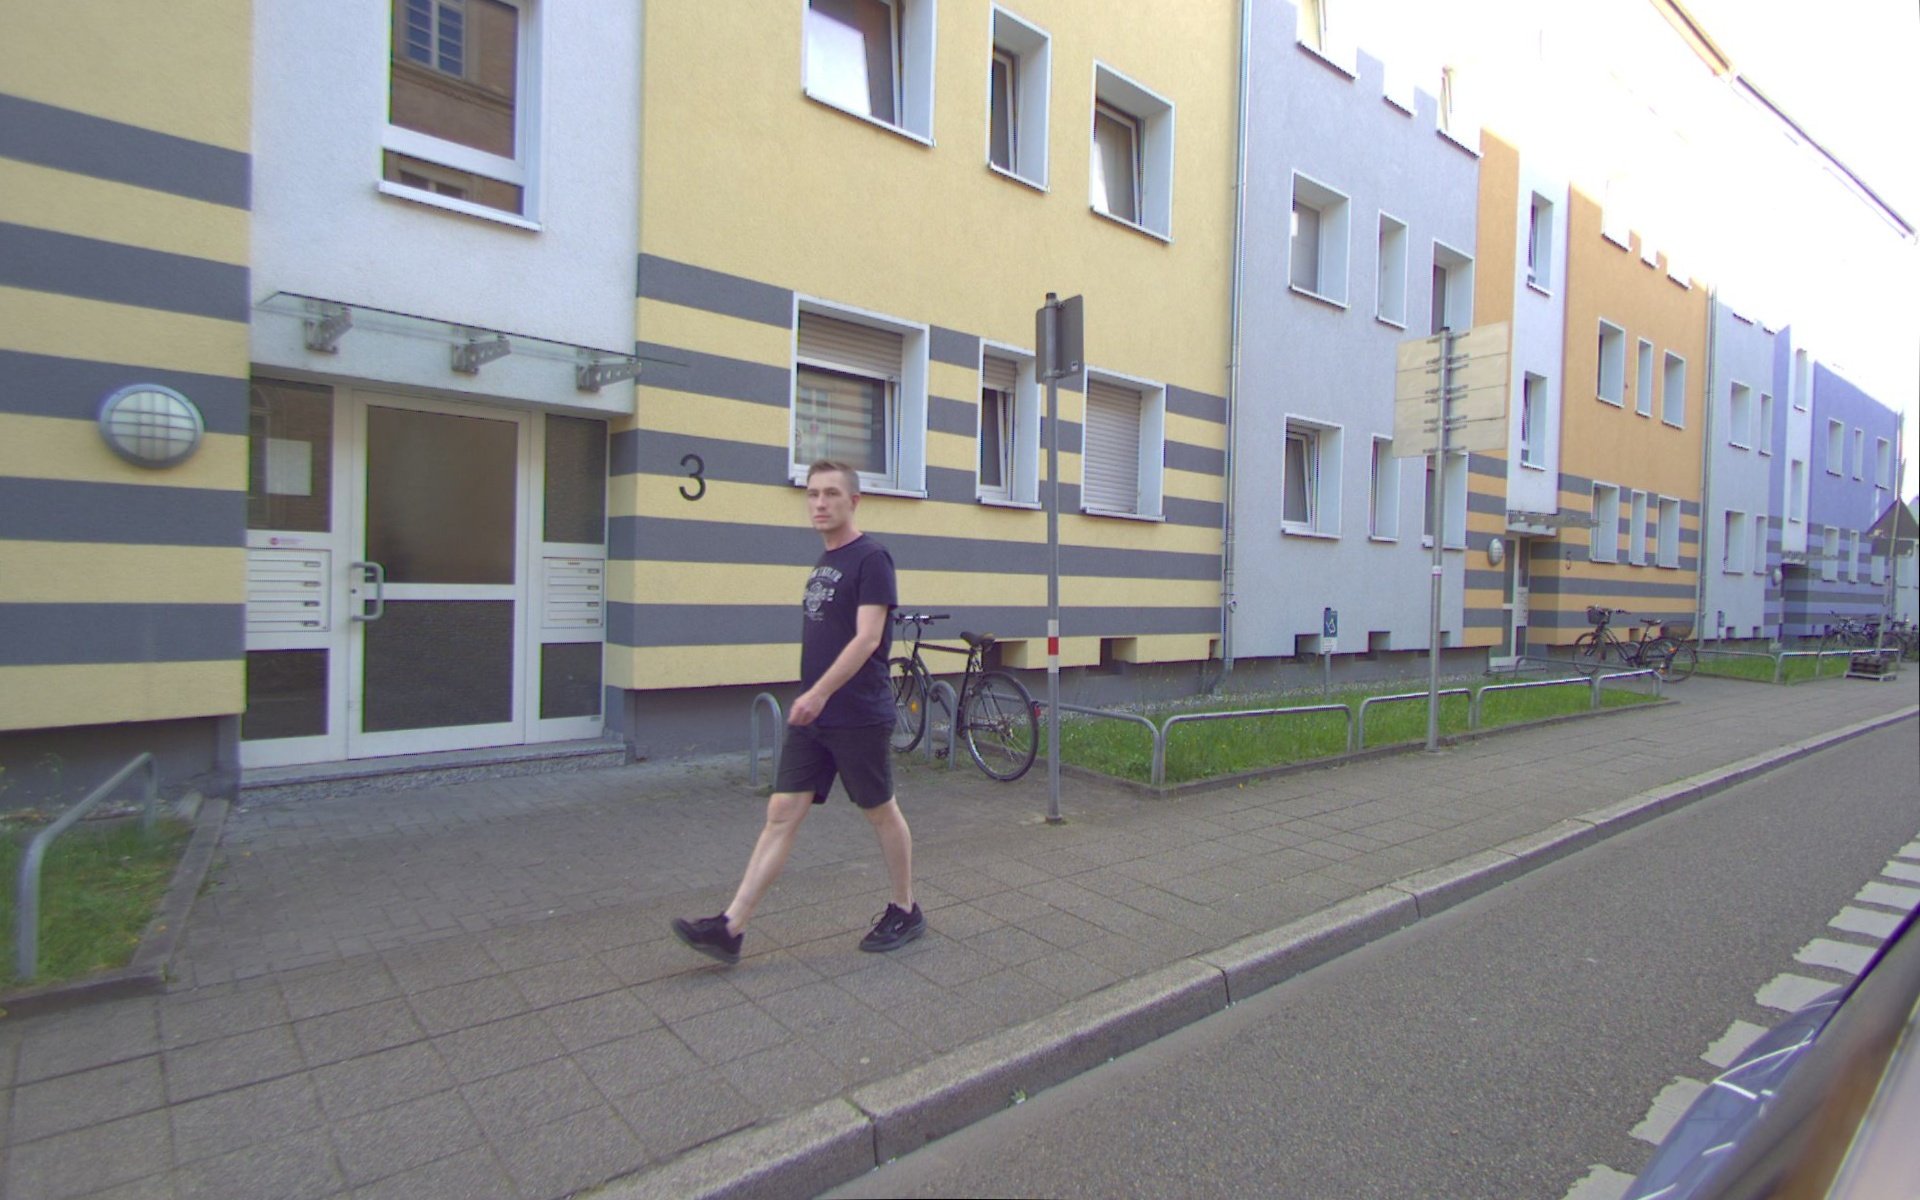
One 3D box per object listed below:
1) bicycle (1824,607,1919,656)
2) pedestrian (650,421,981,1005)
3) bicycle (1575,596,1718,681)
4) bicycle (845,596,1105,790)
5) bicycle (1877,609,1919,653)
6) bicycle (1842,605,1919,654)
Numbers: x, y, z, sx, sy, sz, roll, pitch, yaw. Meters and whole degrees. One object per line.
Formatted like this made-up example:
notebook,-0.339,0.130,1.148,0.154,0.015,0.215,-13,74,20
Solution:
bicycle,22.273,0.746,24.667,0.624,1.058,1.711,1,2,-39
pedestrian,-0.526,0.334,3.639,0.898,1.810,0.646,1,4,-38
bicycle,10.732,0.572,15.864,0.625,1.173,1.709,1,3,-42
bicycle,0.037,0.559,7.045,0.625,1.074,1.946,1,3,-42
bicycle,24.160,0.807,25.337,0.625,1.048,1.709,1,3,-42
bicycle,23.242,0.731,25.262,0.625,1.095,1.711,1,3,-40
